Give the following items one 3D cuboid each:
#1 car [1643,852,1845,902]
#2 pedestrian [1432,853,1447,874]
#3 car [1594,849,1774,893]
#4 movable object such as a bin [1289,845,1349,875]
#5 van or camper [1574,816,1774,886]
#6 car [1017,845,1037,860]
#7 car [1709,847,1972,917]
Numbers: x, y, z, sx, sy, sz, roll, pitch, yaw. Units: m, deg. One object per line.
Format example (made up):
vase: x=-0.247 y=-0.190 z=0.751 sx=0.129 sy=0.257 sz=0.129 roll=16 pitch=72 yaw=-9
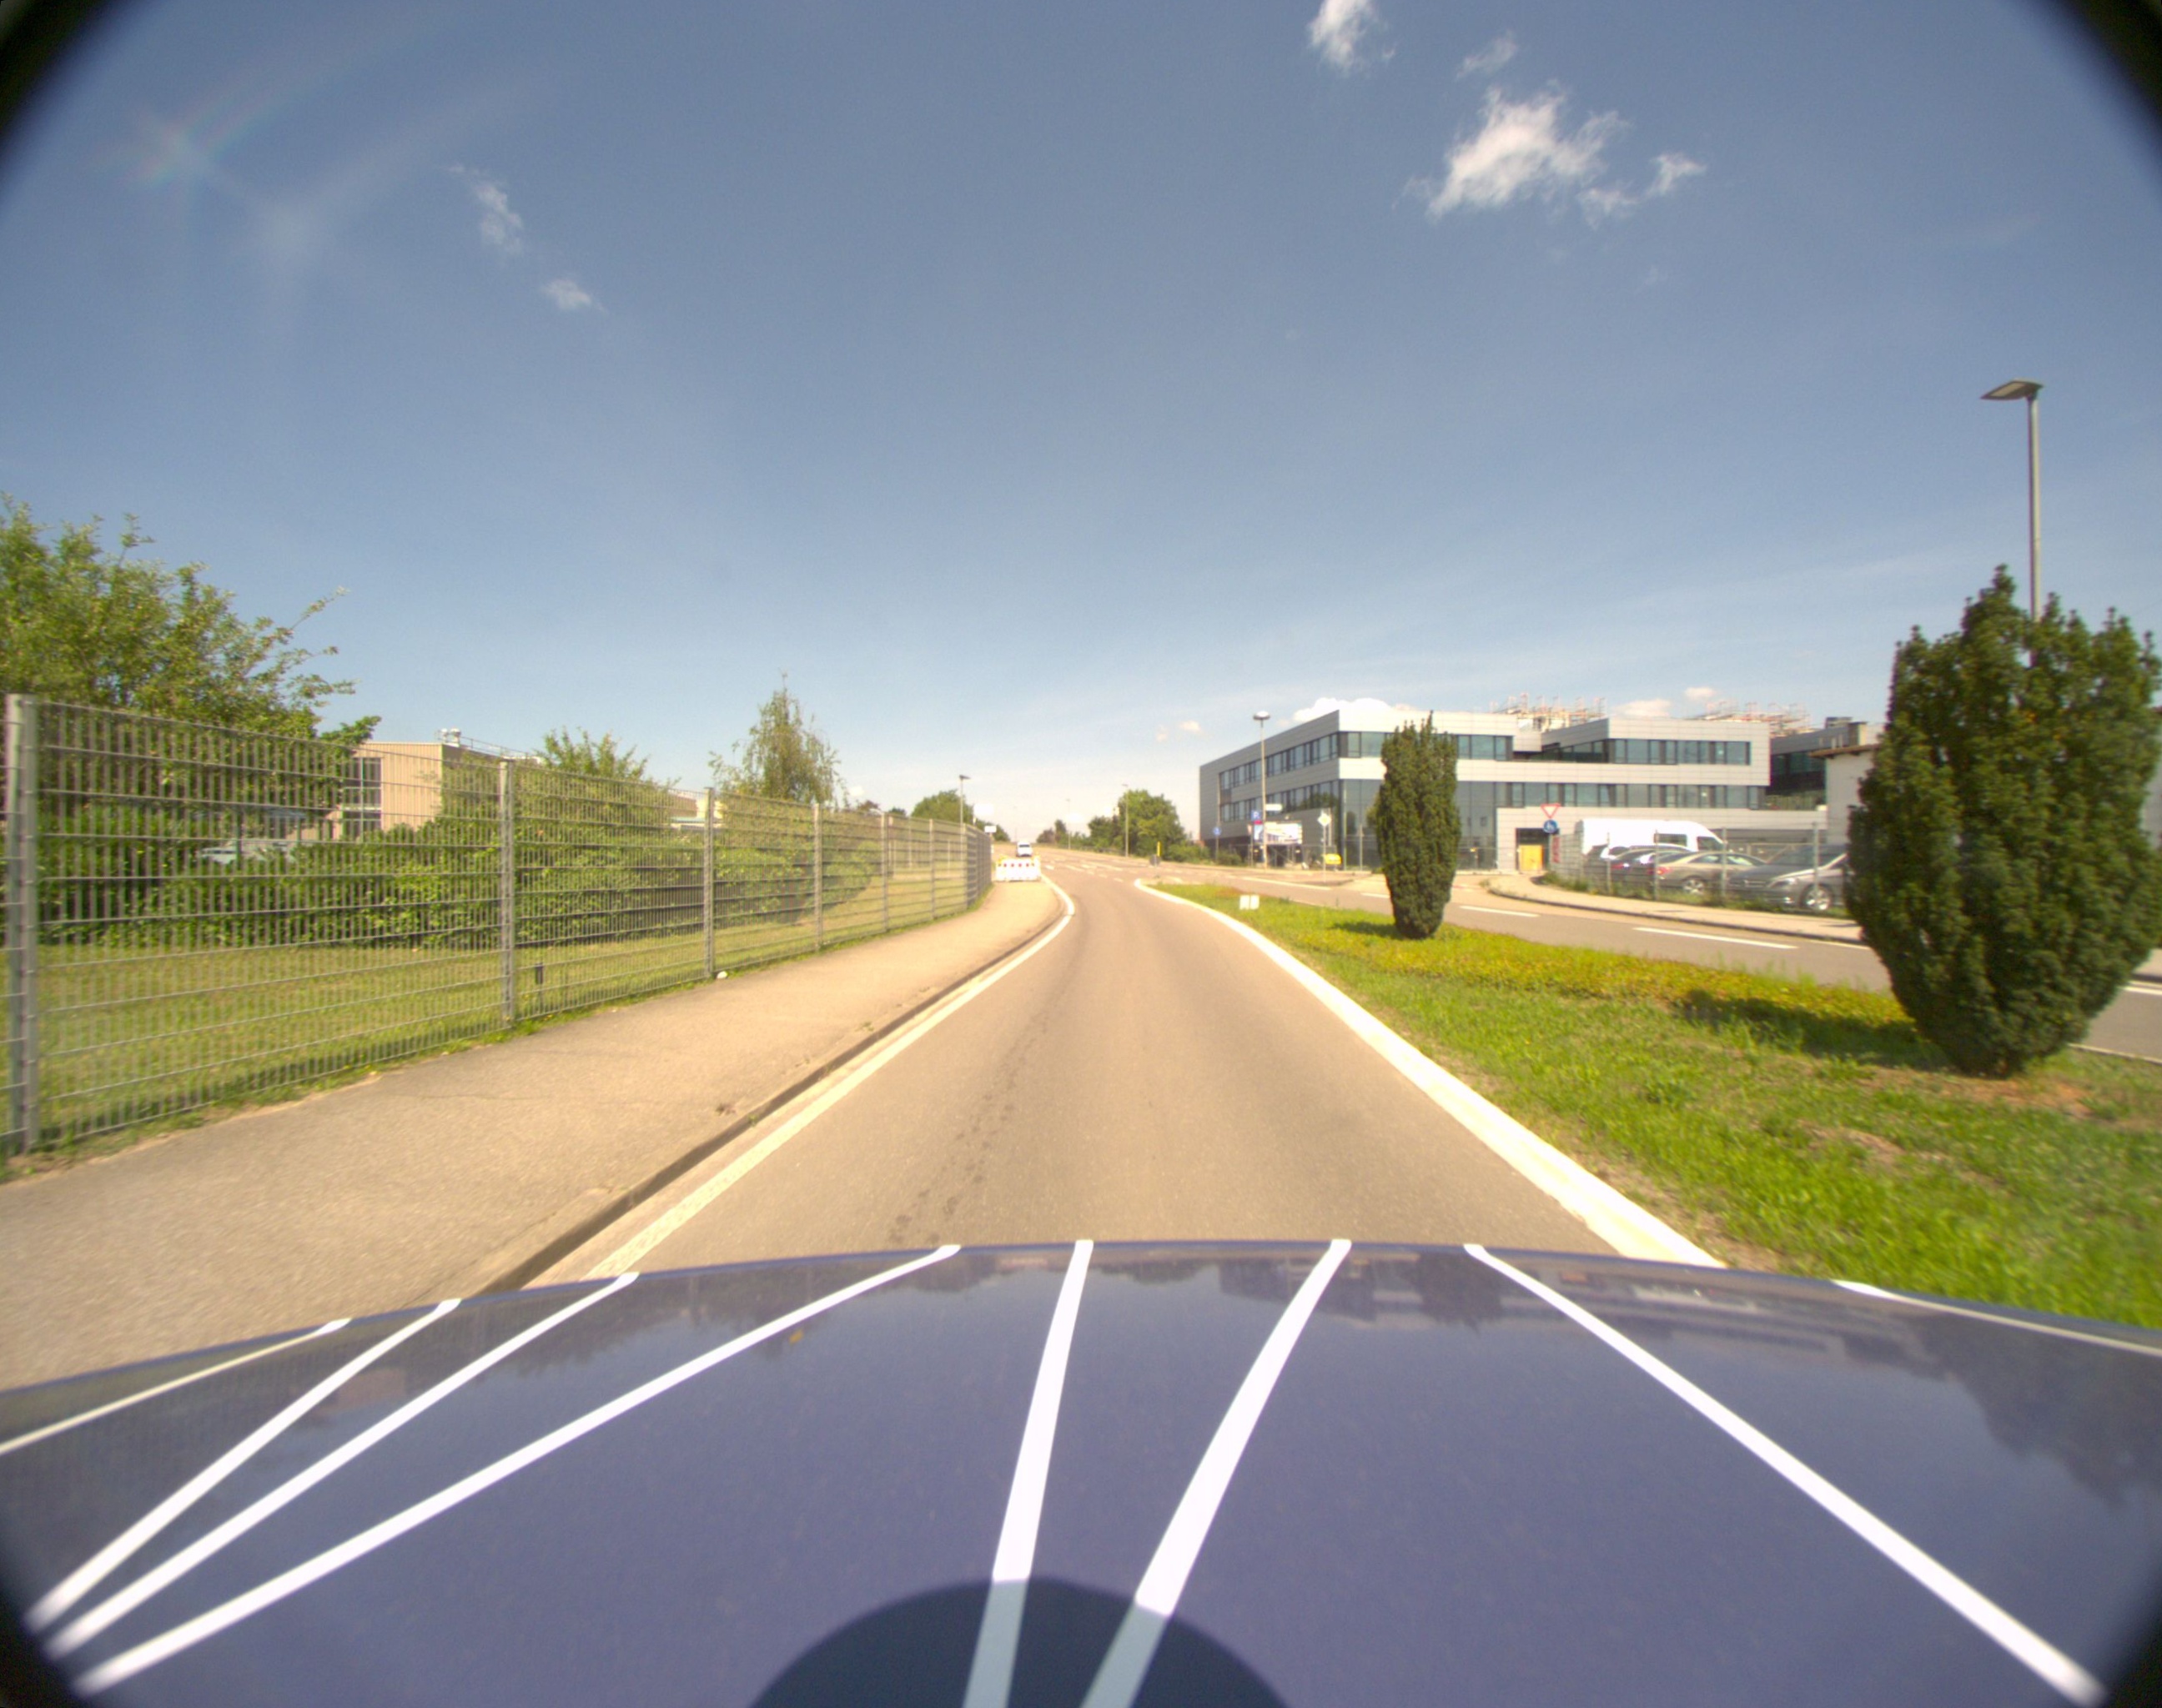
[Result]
car: x=18.257 y=0.603 z=21.133 sx=3.883 sy=1.313 sz=1.694 roll=0 pitch=0 yaw=15
pedestrian: x=29.570 y=0.747 z=62.643 sx=0.782 sy=1.718 sz=0.774 roll=0 pitch=1 yaw=-10
car: x=18.949 y=0.503 z=24.092 sx=3.992 sy=1.313 sz=2.002 roll=0 pitch=0 yaw=15
movable object such as a bin: x=19.993 y=0.436 z=64.048 sx=2.173 sy=2.396 sz=5.452 roll=0 pitch=1 yaw=-16
van or camper: x=22.140 y=-0.105 z=28.682 sx=5.576 sy=2.483 sz=2.082 roll=0 pitch=1 yaw=20
car: x=-7.011 y=-0.242 z=98.097 sx=2.001 sy=1.903 sz=3.995 roll=0 pitch=0 yaw=-13
car: x=17.145 y=0.602 z=17.330 sx=3.997 sy=1.510 sz=2.000 roll=0 pitch=0 yaw=0
